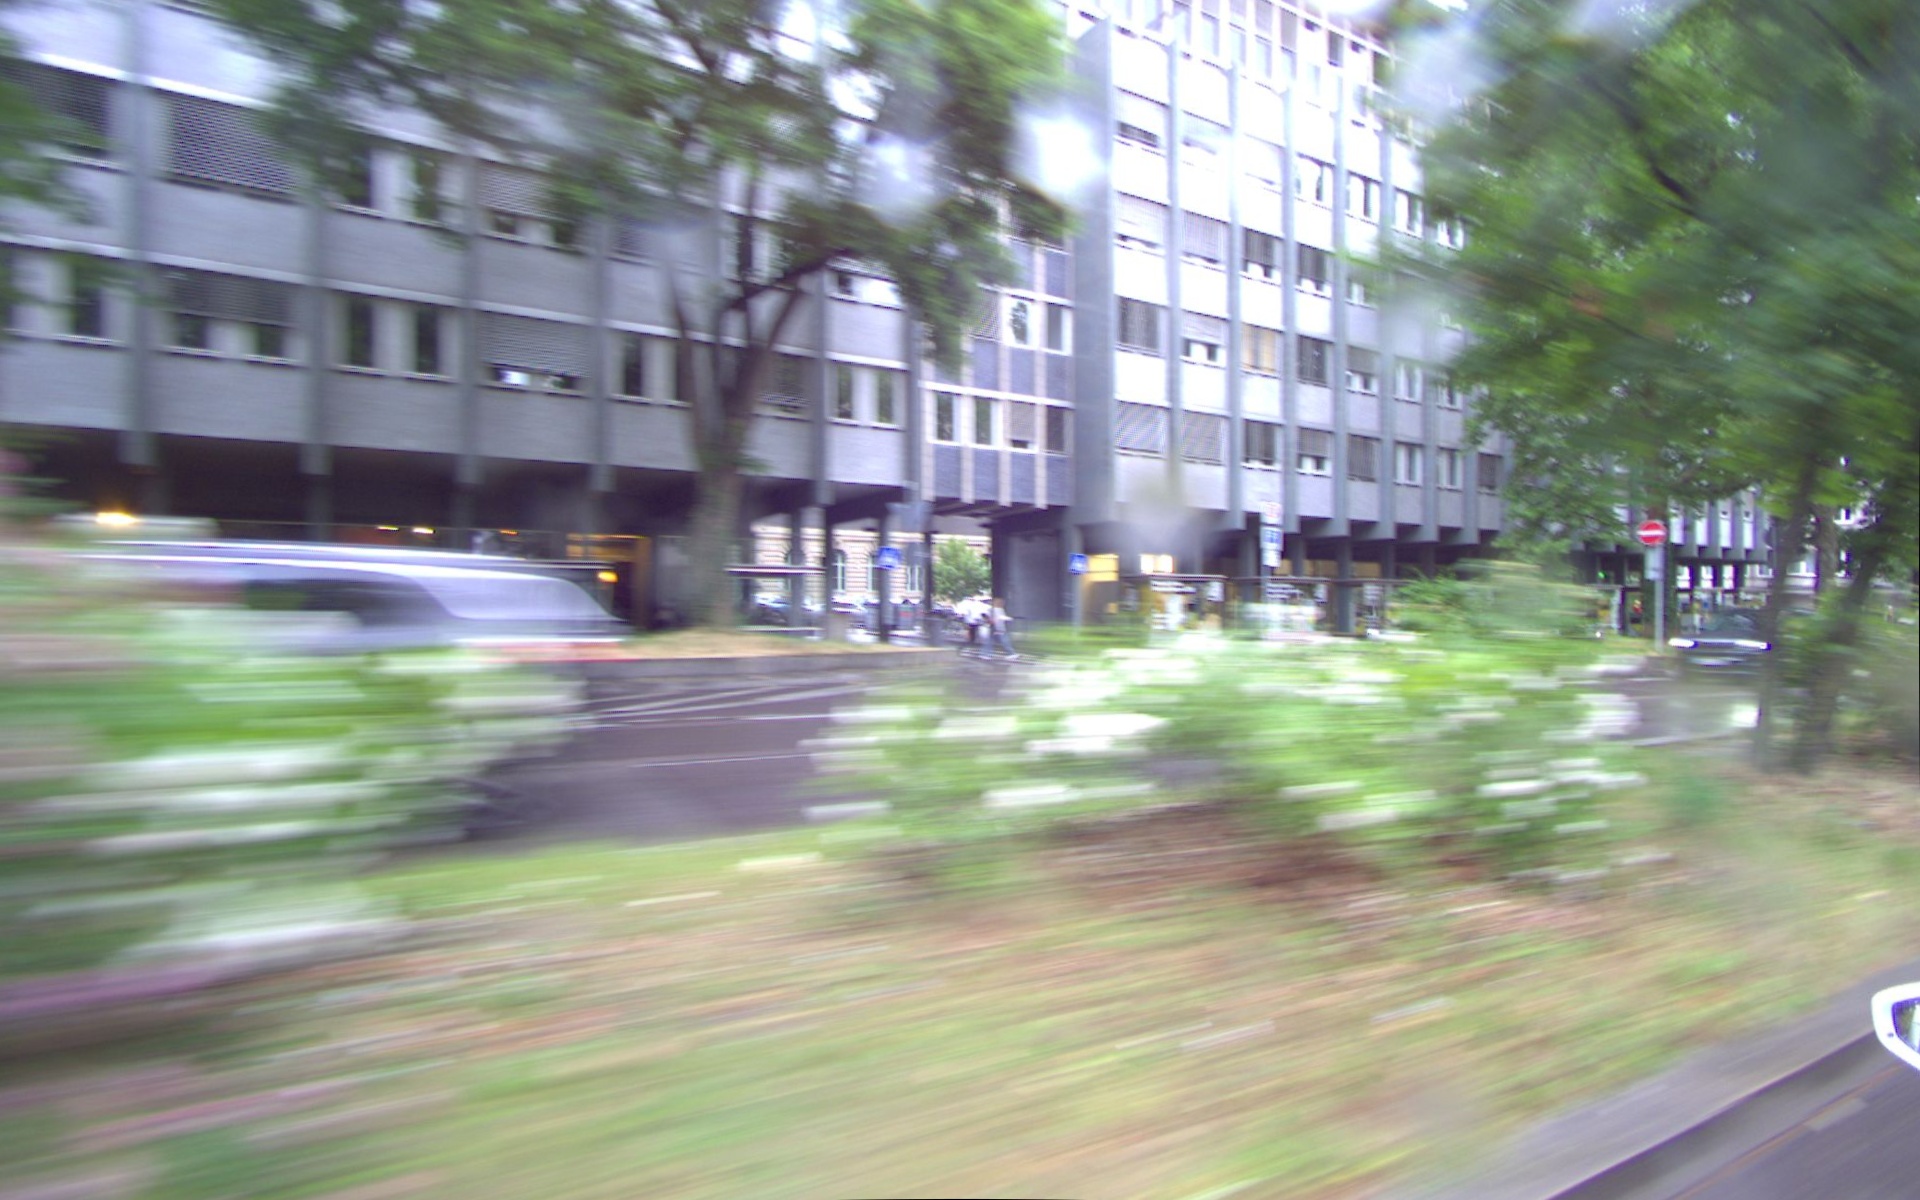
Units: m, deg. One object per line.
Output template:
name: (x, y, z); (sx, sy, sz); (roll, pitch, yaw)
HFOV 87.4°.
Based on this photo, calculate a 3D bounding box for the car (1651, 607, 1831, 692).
car: (16.891, 1.026, 21.690); (3.967, 1.659, 1.714); (1, 0, -30)

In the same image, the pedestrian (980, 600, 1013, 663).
pedestrian: (0.999, 0.863, 27.729); (0.678, 1.731, 0.561); (1, 0, -30)

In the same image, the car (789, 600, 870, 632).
car: (-7.319, 0.903, 56.585); (4.154, 1.662, 1.826); (1, 0, -27)

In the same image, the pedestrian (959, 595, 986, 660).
pedestrian: (0.353, 0.776, 28.625); (0.516, 1.831, 0.545); (1, 0, -30)

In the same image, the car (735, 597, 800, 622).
car: (-13.414, 0.669, 70.019); (4.154, 1.662, 1.826); (1, 0, -27)

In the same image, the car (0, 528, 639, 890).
car: (-4.077, 0.511, 5.781); (3.967, 1.659, 1.714); (1, 0, -30)
